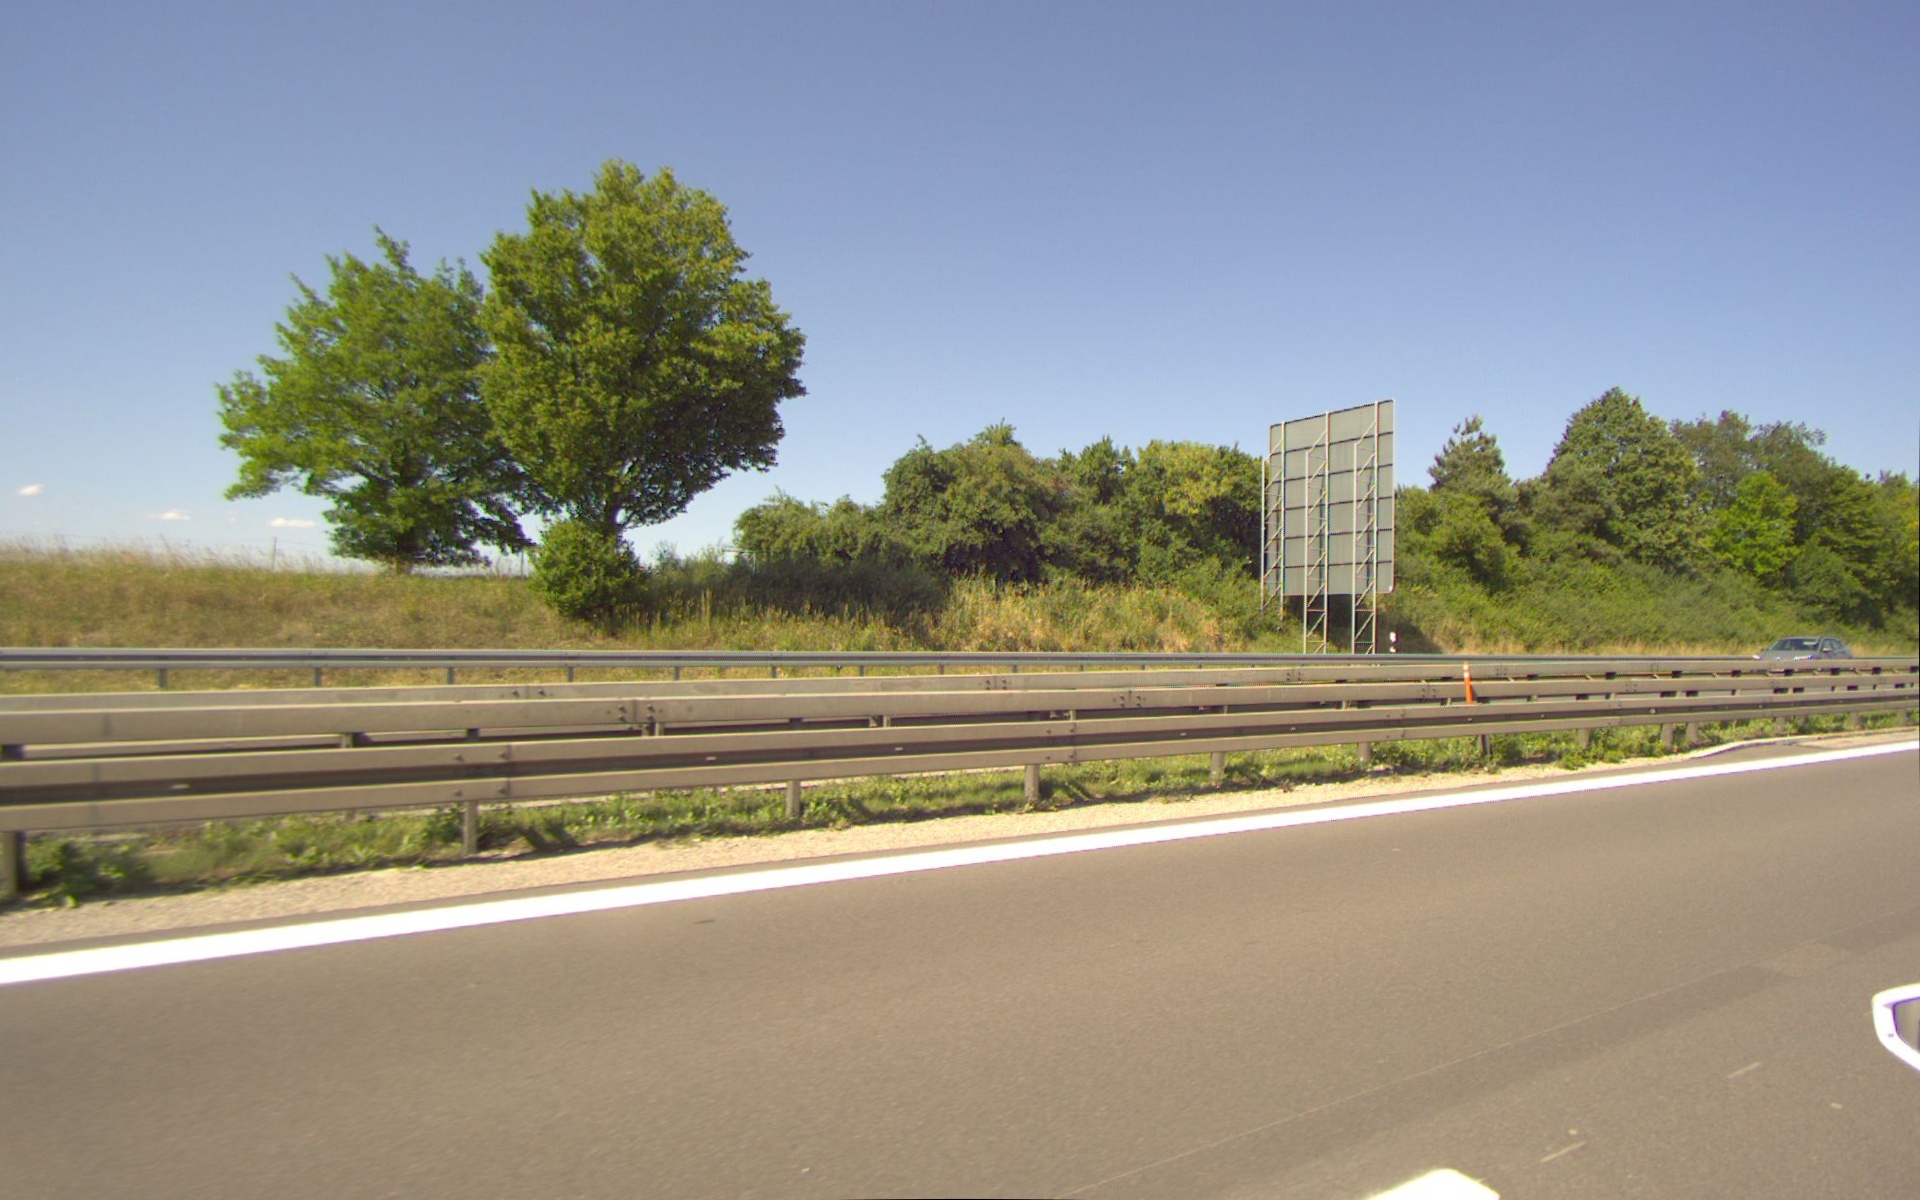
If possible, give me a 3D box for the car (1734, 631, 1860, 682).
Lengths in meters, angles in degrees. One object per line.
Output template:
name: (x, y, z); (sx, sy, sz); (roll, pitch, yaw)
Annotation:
car: (28.856, 1.911, 34.619); (4.435, 1.633, 1.984); (1, -1, -30)
